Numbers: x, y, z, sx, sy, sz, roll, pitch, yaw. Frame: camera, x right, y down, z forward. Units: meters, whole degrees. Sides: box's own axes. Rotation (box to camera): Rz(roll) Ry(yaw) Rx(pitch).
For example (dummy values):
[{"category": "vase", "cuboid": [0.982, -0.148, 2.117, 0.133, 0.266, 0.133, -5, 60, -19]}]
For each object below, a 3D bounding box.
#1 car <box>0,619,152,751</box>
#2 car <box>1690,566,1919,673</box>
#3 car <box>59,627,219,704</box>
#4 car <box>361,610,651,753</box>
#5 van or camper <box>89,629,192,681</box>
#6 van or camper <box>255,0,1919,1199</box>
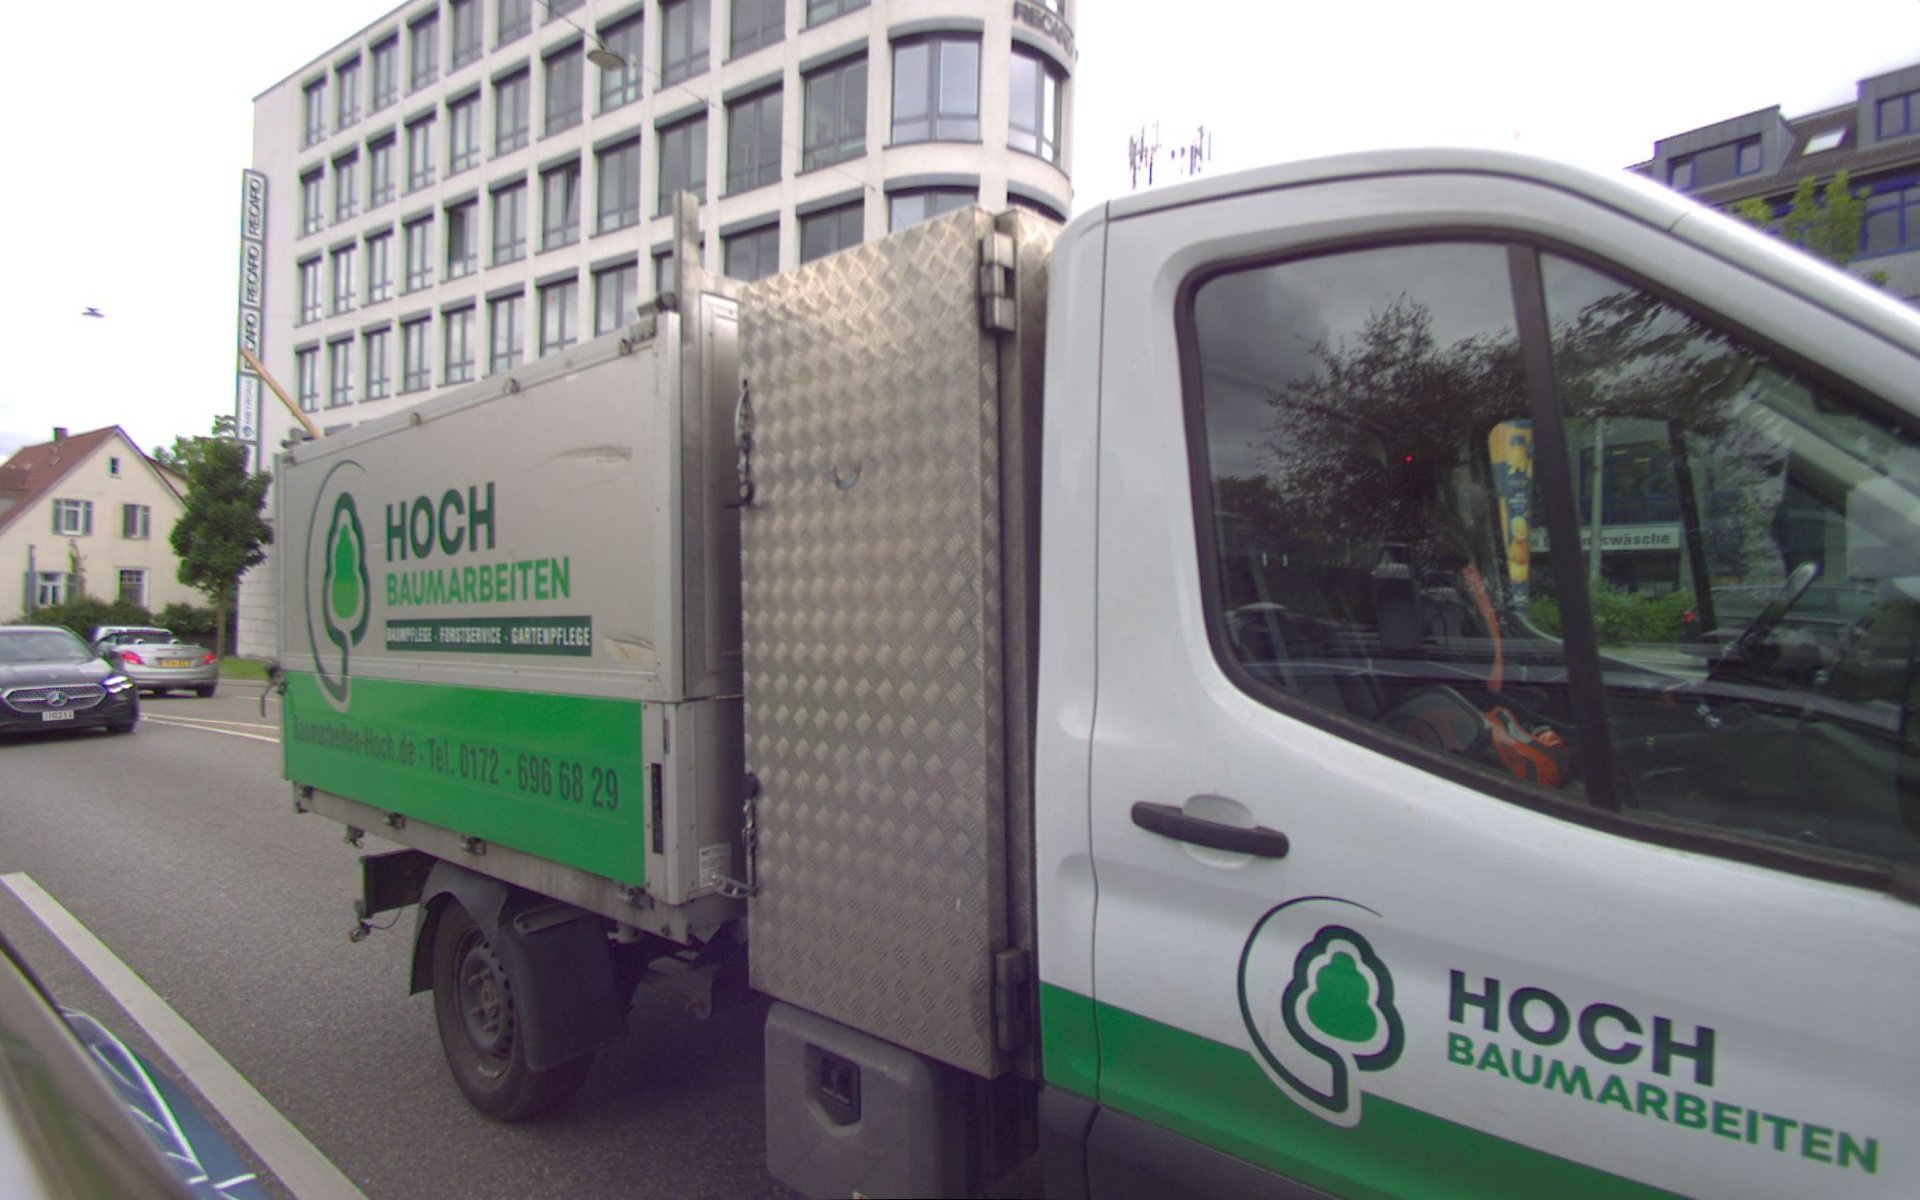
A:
[{"category": "car", "cuboid": [-12.771, 1.097, 13.579, 4.324, 1.542, 1.858, -3, -2, 35]}, {"category": "car", "cuboid": [13.712, 0.265, 14.885, 1.751, 1.474, 4.454, -2, -1, -30]}, {"category": "car", "cuboid": [-17.534, 1.353, 21.560, 3.974, 1.492, 1.760, -2, -3, 38]}, {"category": "car", "cuboid": [-5.954, 0.966, 13.113, 3.994, 1.577, 1.760, -2, -2, 38]}, {"category": "van or camper", "cuboid": [-33.714, 2.266, 41.607, 4.861, 1.983, 2.042, -3, -3, 35]}, {"category": "van or camper", "cuboid": [0.593, 0.115, 2.553, 5.958, 2.682, 2.320, 0, 0, 39]}]
